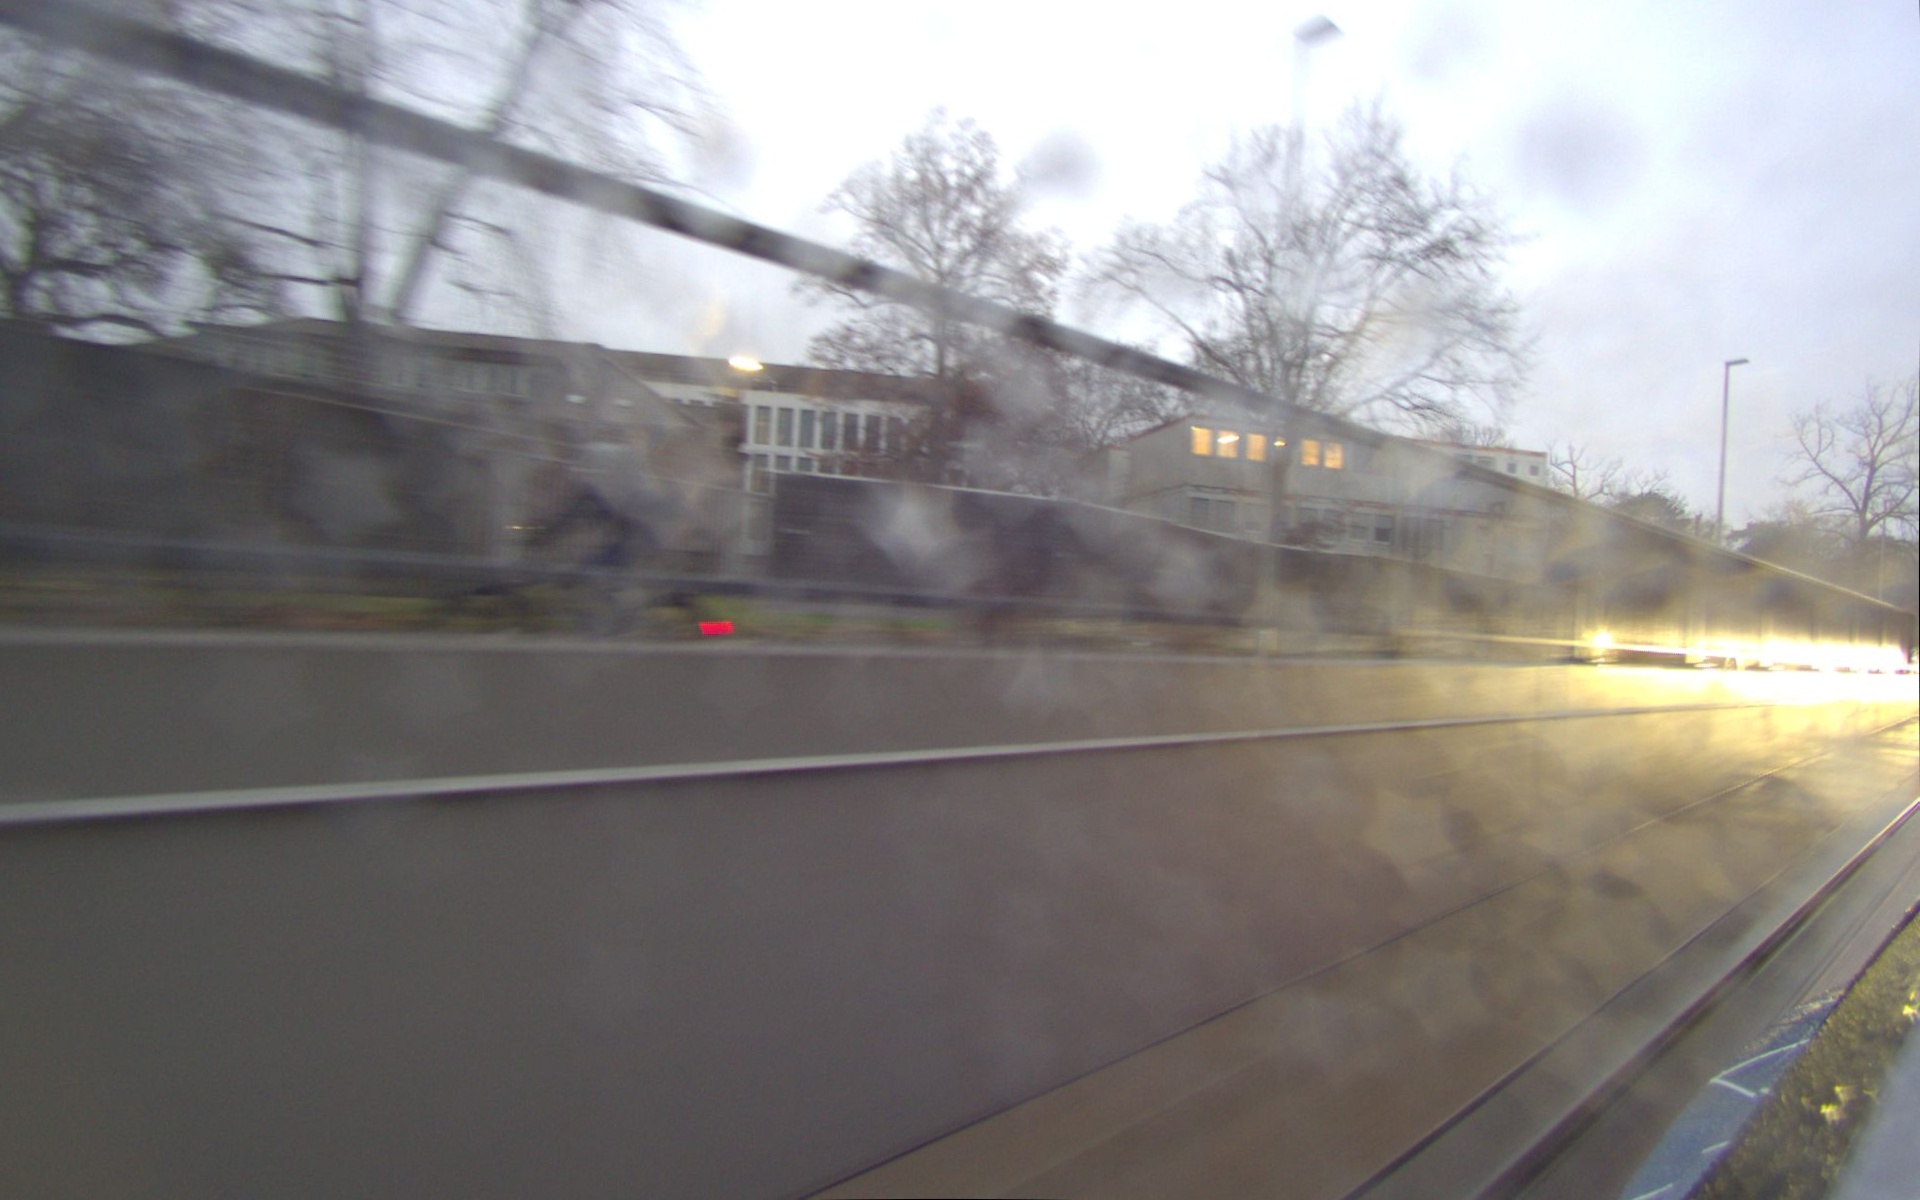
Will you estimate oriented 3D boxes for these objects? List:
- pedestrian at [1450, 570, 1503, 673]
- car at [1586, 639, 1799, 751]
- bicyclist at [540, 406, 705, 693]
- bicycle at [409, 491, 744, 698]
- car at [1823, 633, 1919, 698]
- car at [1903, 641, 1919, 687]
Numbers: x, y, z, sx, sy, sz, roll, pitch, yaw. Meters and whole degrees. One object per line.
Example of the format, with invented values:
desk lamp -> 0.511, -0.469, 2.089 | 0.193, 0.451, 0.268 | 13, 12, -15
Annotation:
pedestrian -> 9.789, 0.414, 19.181 | 0.885, 1.903, 0.532 | 4, -1, -41
car -> 11.449, 1.394, 15.741 | 3.927, 1.498, 1.726 | 3, -2, -39
bicyclist -> -2.248, -0.303, 6.761 | 0.822, 1.789, 0.501 | 4, -2, -41
bicycle -> -2.440, 0.010, 6.670 | 1.993, 1.200, 0.412 | 4, -1, -42
car -> 25.037, 1.723, 27.307 | 4.877, 1.520, 1.791 | 2, -1, -39
car -> 33.532, 2.203, 34.187 | 3.965, 1.480, 1.779 | 3, -1, -37
